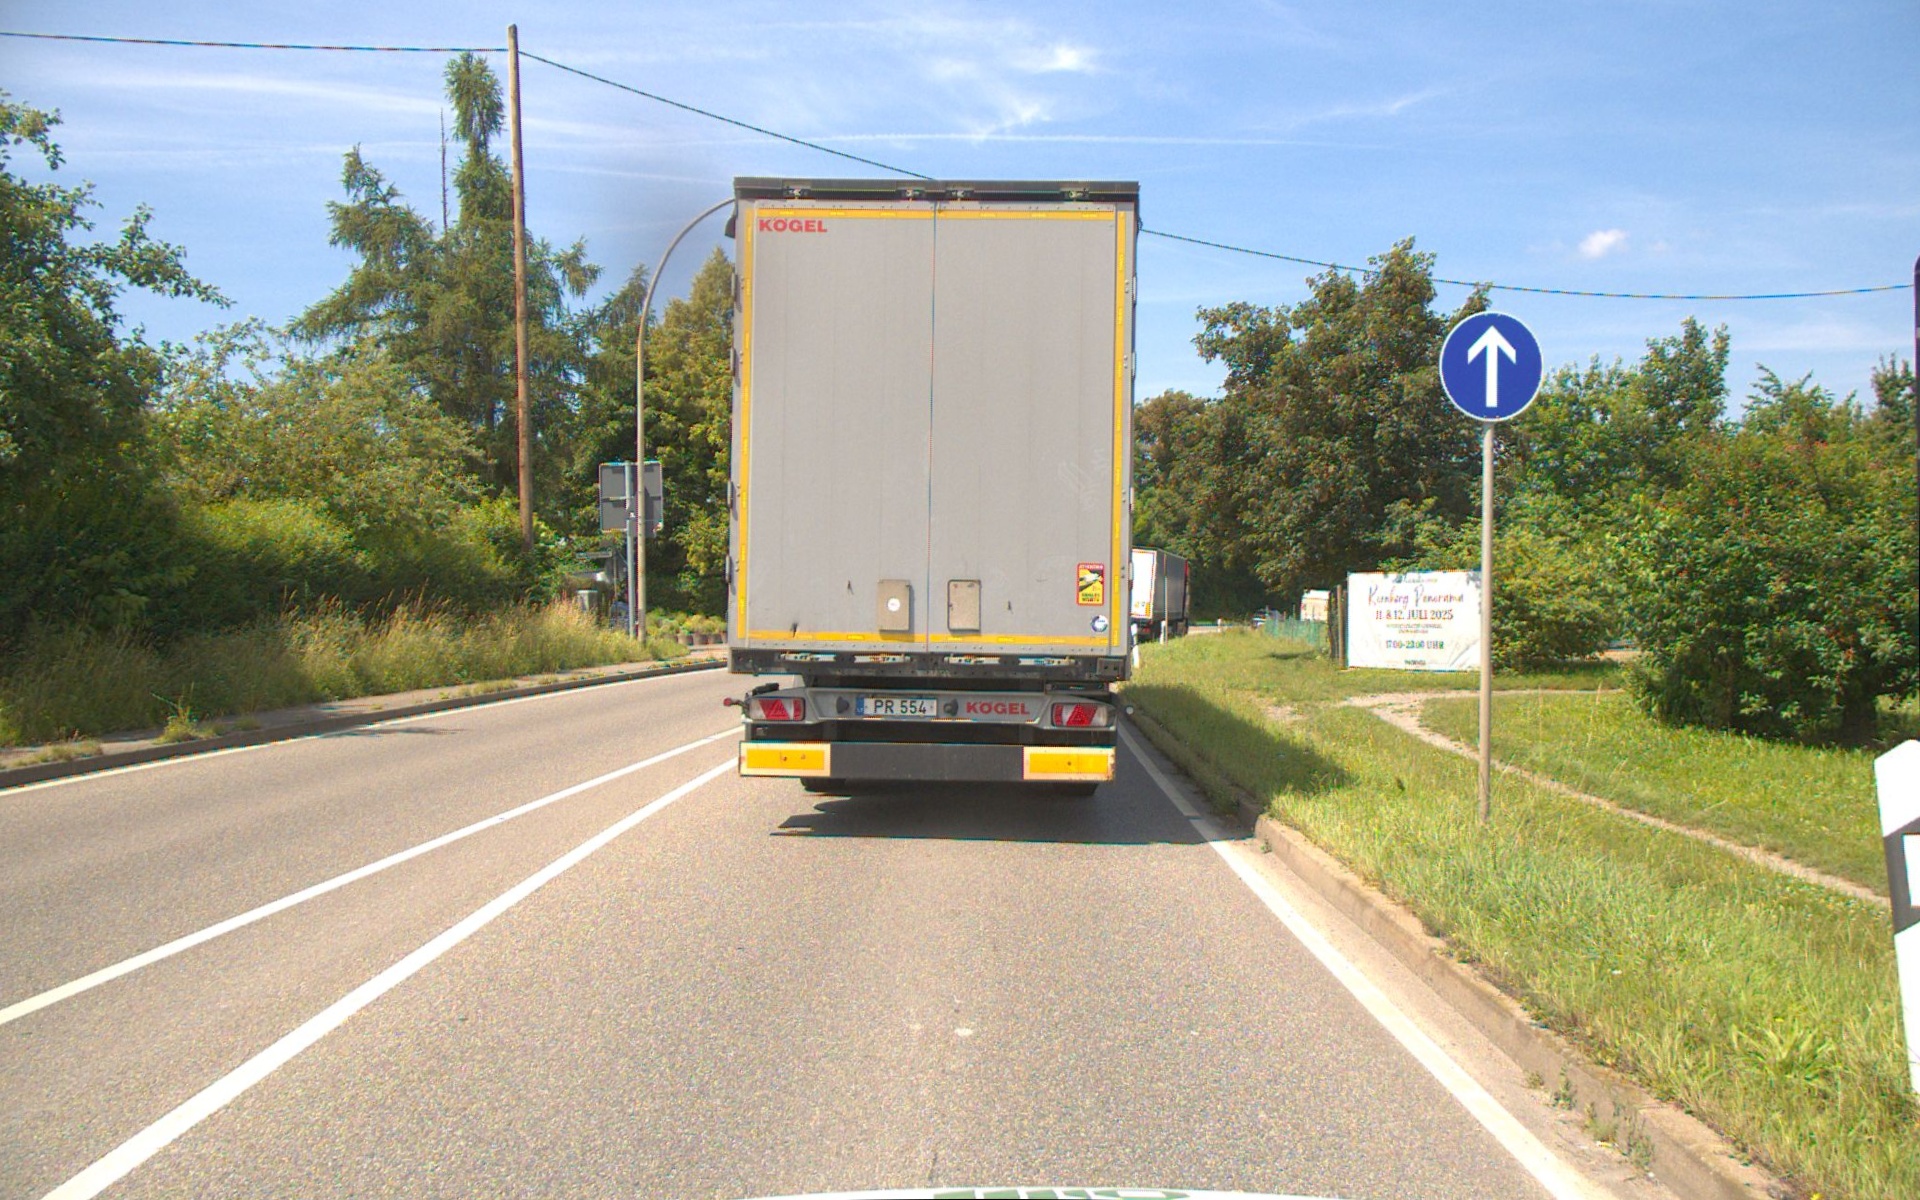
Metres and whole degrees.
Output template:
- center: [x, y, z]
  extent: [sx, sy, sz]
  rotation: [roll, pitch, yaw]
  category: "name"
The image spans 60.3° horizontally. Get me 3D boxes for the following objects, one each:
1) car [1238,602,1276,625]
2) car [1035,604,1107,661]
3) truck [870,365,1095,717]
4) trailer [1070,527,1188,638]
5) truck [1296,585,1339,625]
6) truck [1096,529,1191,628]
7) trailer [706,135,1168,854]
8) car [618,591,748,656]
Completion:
- center: [20.117, 0.908, 111.968]
  extent: [1.803, 1.512, 4.001]
  rotation: [0, 1, 21]
  category: "car"
- center: [3.335, 0.936, 48.991]
  extent: [1.951, 1.556, 4.003]
  rotation: [0, 1, 6]
  category: "car"
- center: [0.427, -0.756, 23.063]
  extent: [2.688, 4.238, 6.145]
  rotation: [1, 1, 3]
  category: "truck"
- center: [7.851, -0.725, 74.768]
  extent: [3.808, 4.600, 12.723]
  rotation: [0, 0, 13]
  category: "trailer"
- center: [26.710, 0.365, 123.377]
  extent: [2.370, 2.888, 5.413]
  rotation: [0, 1, 21]
  category: "truck"
- center: [9.119, -1.025, 81.405]
  extent: [3.853, 4.655, 7.158]
  rotation: [0, 0, 13]
  category: "truck"
- center: [0.100, -0.705, 15.949]
  extent: [2.729, 4.278, 12.115]
  rotation: [1, 1, 2]
  category: "trailer"
- center: [-8.998, 0.738, 53.639]
  extent: [4.002, 2.049, 1.992]
  rotation: [0, 0, -16]
  category: "car"
